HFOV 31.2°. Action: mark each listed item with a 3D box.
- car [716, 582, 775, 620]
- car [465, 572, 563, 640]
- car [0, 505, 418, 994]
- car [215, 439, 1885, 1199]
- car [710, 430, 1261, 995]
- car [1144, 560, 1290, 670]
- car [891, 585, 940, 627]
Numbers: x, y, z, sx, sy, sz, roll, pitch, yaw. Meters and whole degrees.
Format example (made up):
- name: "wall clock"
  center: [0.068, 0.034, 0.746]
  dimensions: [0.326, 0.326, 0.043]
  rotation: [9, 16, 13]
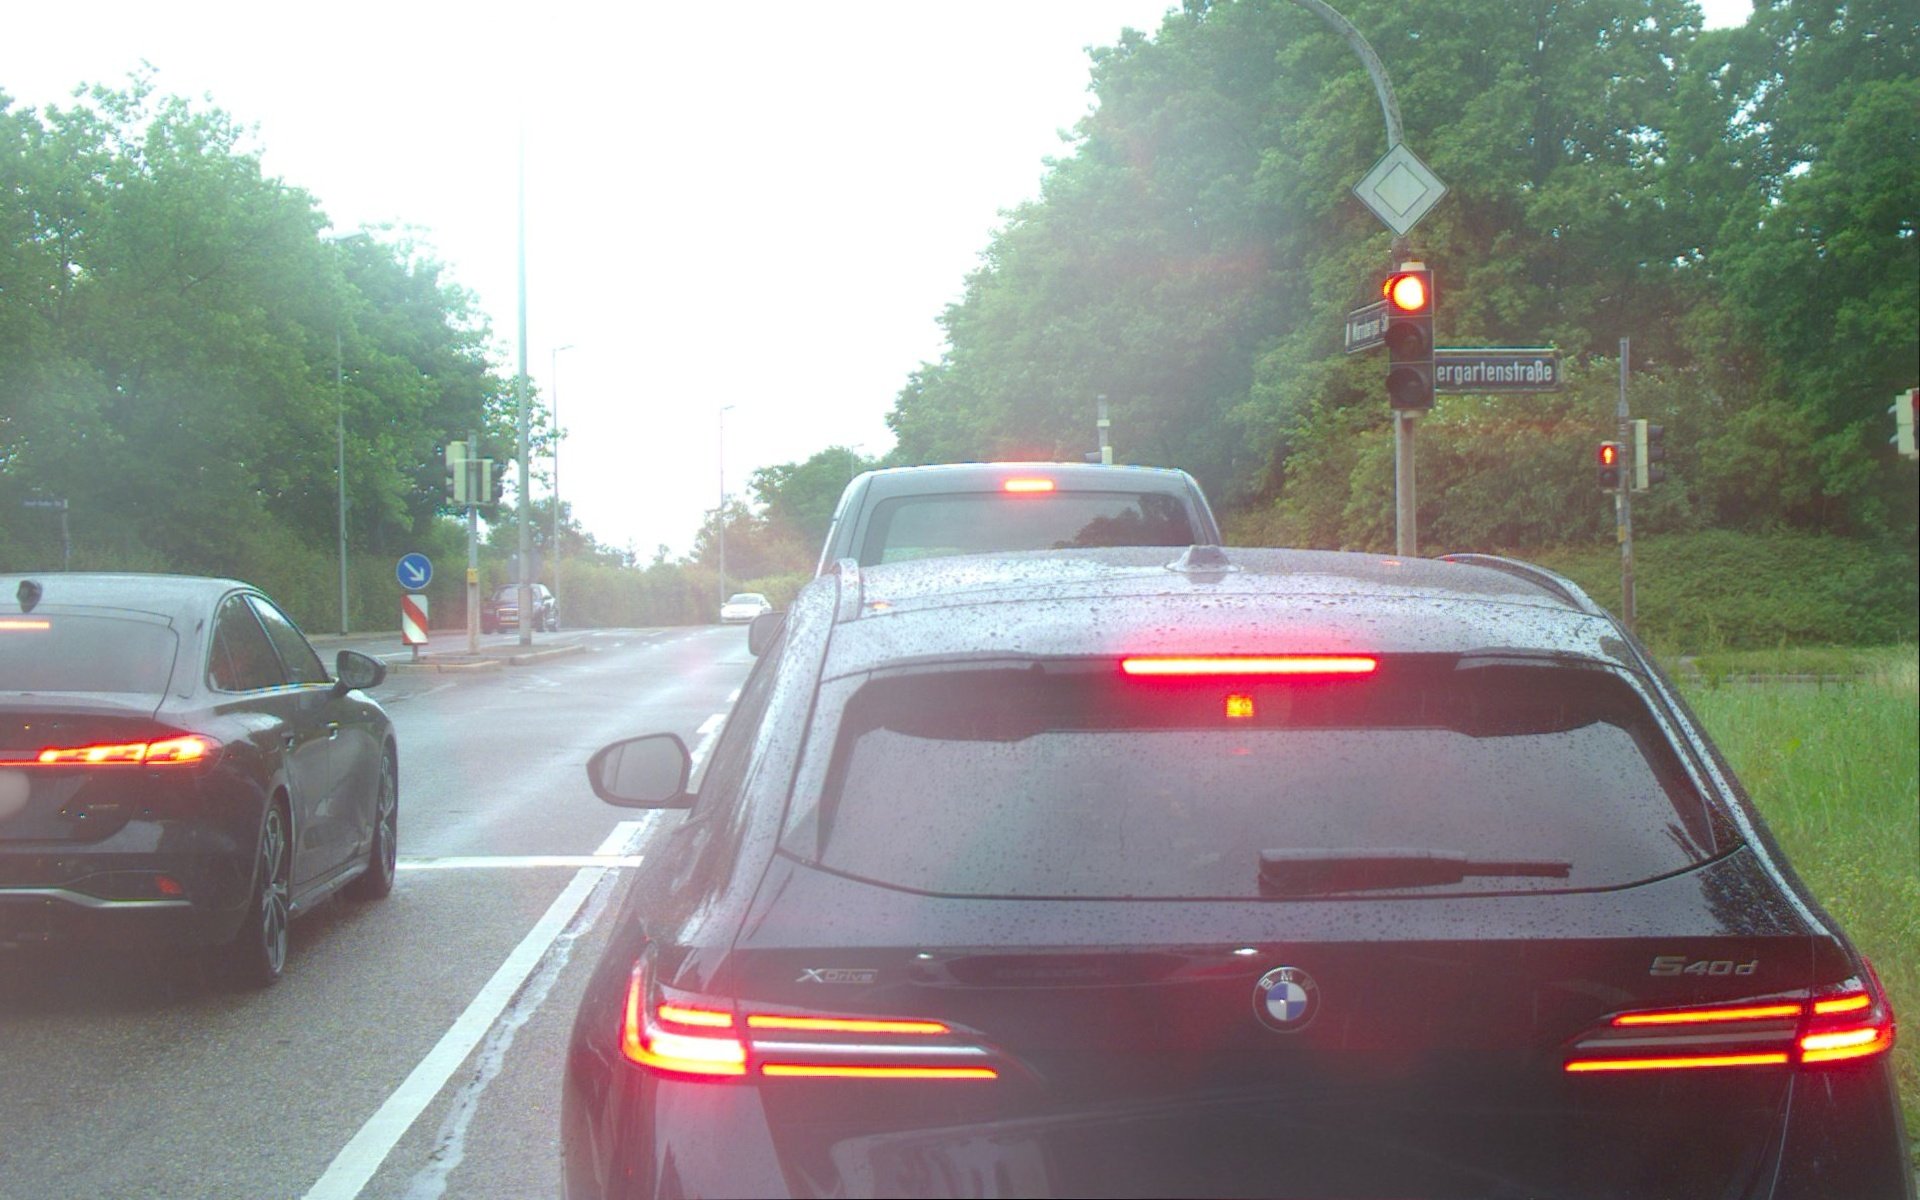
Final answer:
- name: "car"
  center: [-9.592, 0.037, 154.172]
  dimensions: [1.994, 1.605, 3.671]
  rotation: [-2, 0, 6]
- name: "car"
  center: [-12.698, 0.159, 98.180]
  dimensions: [1.994, 1.820, 4.000]
  rotation: [-2, 0, 3]
- name: "car"
  center: [-3.338, 0.486, 13.074]
  dimensions: [1.993, 1.522, 4.328]
  rotation: [-2, 0, -3]
- name: "car"
  center: [0.208, 0.599, 6.222]
  dimensions: [1.898, 1.546, 4.614]
  rotation: [0, 0, 3]
- name: "car"
  center: [0.082, 0.358, 13.353]
  dimensions: [1.818, 1.862, 3.952]
  rotation: [0, 0, 0]
- name: "car"
  center: [3.879, 0.200, 52.421]
  dimensions: [1.873, 1.537, 3.952]
  rotation: [-2, 0, 0]
- name: "car"
  center: [-1.598, 0.214, 125.054]
  dimensions: [1.697, 1.422, 3.514]
  rotation: [-2, 1, 0]
